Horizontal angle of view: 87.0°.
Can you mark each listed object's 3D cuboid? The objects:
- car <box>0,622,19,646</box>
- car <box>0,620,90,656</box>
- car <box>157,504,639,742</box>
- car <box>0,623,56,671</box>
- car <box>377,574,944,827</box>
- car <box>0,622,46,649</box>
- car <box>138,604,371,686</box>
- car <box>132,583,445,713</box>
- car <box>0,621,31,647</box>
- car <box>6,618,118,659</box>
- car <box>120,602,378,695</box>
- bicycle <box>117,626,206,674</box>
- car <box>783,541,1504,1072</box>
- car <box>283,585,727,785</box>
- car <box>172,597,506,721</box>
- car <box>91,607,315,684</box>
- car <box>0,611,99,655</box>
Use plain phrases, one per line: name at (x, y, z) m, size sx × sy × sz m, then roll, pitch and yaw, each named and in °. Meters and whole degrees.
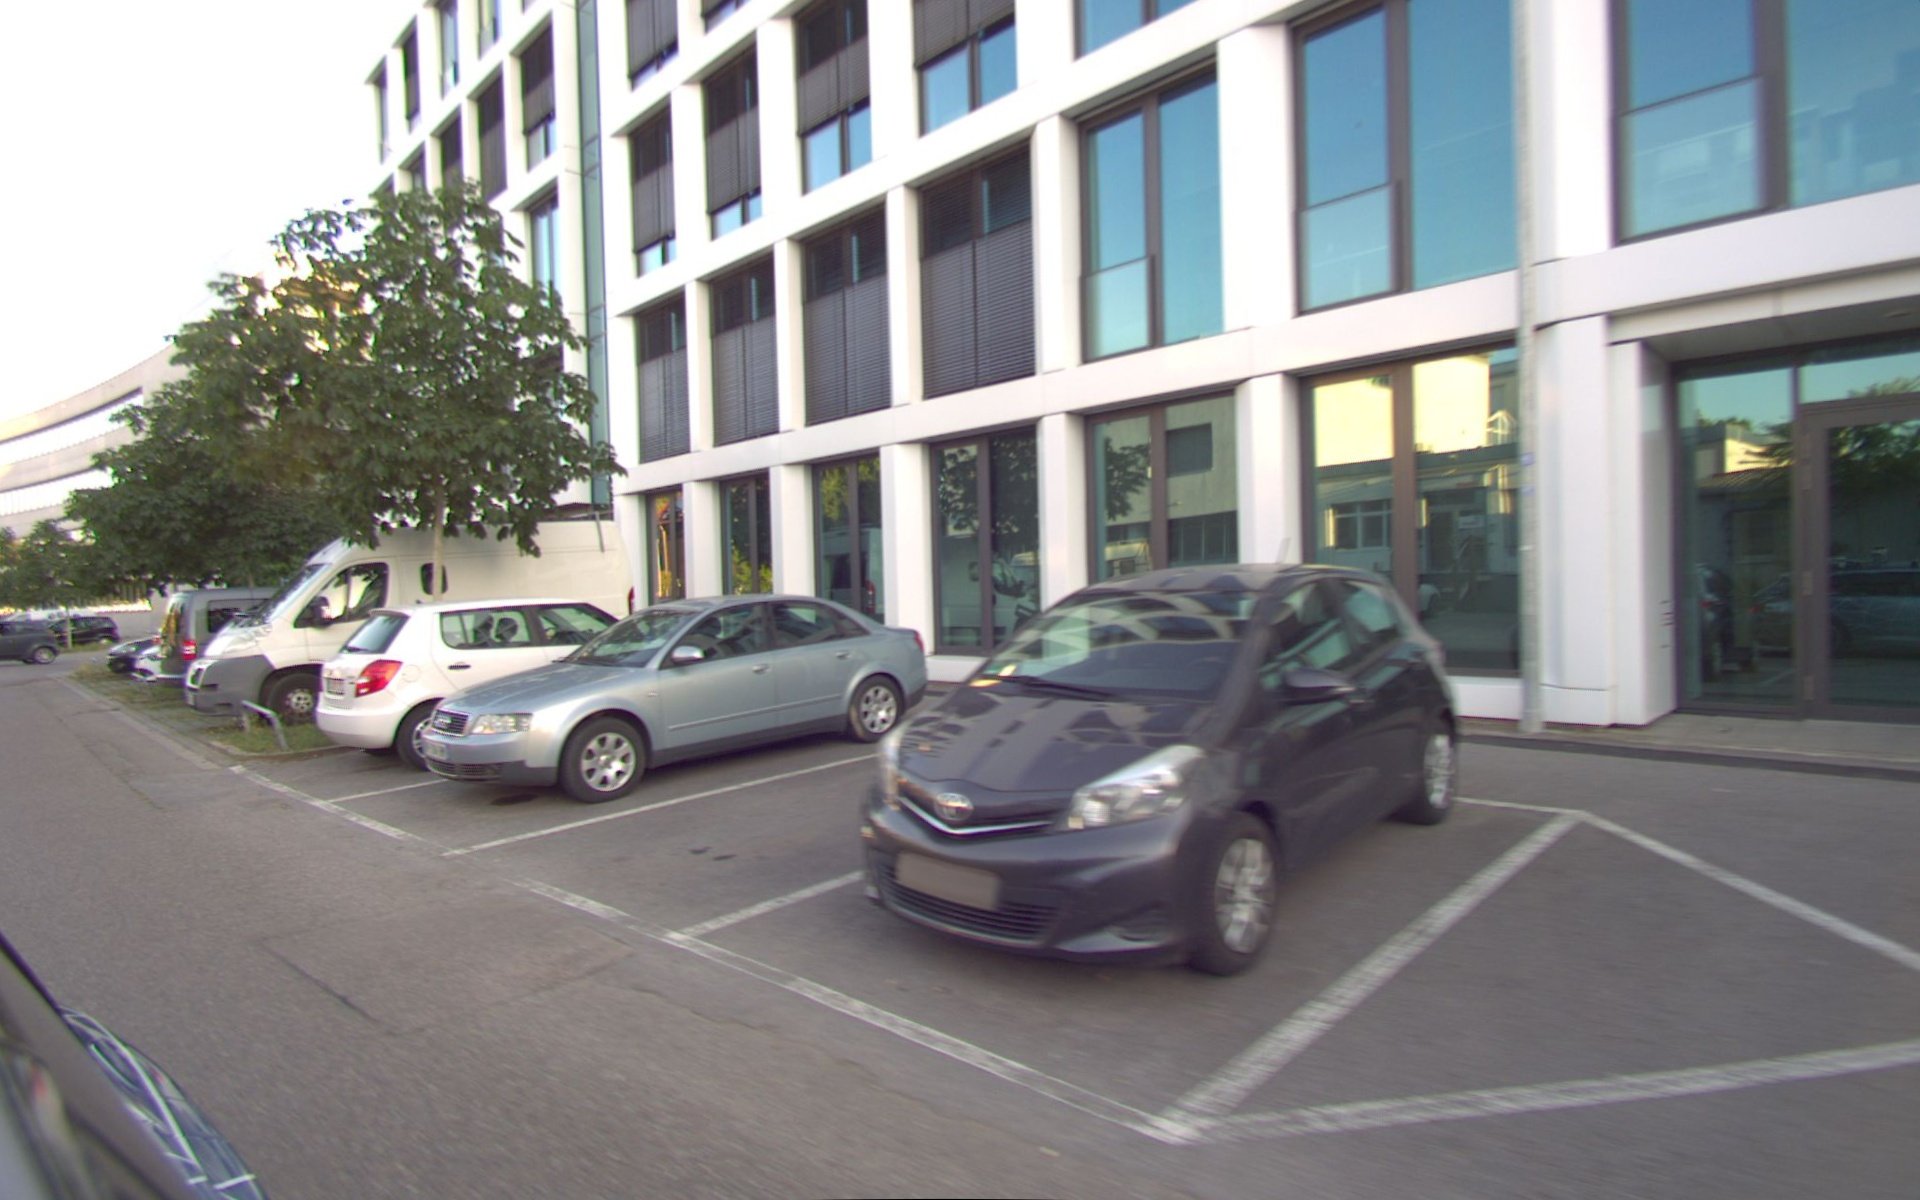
car at (-57.248, 2.101, 58.587) m, size 1.796 × 1.370 × 3.767 m, roll -2°, pitch 2°, yaw 37°
car at (-45.221, 1.851, 49.628) m, size 1.725 × 1.435 × 3.608 m, roll -1°, pitch 2°, yaw 41°
car at (-7.431, 0.153, 13.892) m, size 2.079 × 2.652 × 5.321 m, roll -2°, pitch 1°, yaw 44°
car at (-32.230, 1.583, 33.096) m, size 1.645 × 1.506 × 3.694 m, roll -2°, pitch 0°, yaw 34°
car at (-2.310, 0.627, 8.647) m, size 1.795 × 1.506 × 4.259 m, roll -2°, pitch 1°, yaw 45°
car at (-52.927, 2.023, 55.577) m, size 1.796 × 1.370 × 3.767 m, roll -2°, pitch 2°, yaw 37°
car at (-16.186, 0.966, 23.363) m, size 1.845 × 1.530 × 4.064 m, roll -2°, pitch 1°, yaw 43°
car at (-11.359, 0.720, 17.354) m, size 1.814 × 1.830 × 4.068 m, roll -2°, pitch 1°, yaw 39°
car at (-55.243, 2.029, 57.157) m, size 1.796 × 1.370 × 3.767 m, roll -2°, pitch 2°, yaw 37°
car at (-41.029, 1.714, 46.282) m, size 1.725 × 1.559 × 3.607 m, roll -1°, pitch 2°, yaw 42°
car at (-14.651, 0.933, 21.015) m, size 1.780 × 1.530 × 4.064 m, roll -2°, pitch 1°, yaw 43°
bicycle at (-20.391, 1.251, 25.869) m, size 0.566 × 1.073 × 1.677 m, roll -2°, pitch 1°, yaw 44°
car at (1.186, 0.537, 4.892) m, size 1.693 × 1.533 × 3.742 m, roll -2°, pitch 1°, yaw 41°
car at (-4.421, 0.696, 10.208) m, size 1.708 × 1.506 × 3.668 m, roll -2°, pitch 1°, yaw 43°
car at (-9.570, 0.816, 15.864) m, size 1.773 × 1.510 × 4.068 m, roll -2°, pitch 1°, yaw 39°
car at (-18.421, 1.055, 24.770) m, size 1.844 × 1.530 × 4.065 m, roll -2°, pitch 1°, yaw 42°
car at (-47.241, 1.693, 51.405) m, size 1.886 × 1.894 × 5.023 m, roll -2°, pitch 2°, yaw 37°
